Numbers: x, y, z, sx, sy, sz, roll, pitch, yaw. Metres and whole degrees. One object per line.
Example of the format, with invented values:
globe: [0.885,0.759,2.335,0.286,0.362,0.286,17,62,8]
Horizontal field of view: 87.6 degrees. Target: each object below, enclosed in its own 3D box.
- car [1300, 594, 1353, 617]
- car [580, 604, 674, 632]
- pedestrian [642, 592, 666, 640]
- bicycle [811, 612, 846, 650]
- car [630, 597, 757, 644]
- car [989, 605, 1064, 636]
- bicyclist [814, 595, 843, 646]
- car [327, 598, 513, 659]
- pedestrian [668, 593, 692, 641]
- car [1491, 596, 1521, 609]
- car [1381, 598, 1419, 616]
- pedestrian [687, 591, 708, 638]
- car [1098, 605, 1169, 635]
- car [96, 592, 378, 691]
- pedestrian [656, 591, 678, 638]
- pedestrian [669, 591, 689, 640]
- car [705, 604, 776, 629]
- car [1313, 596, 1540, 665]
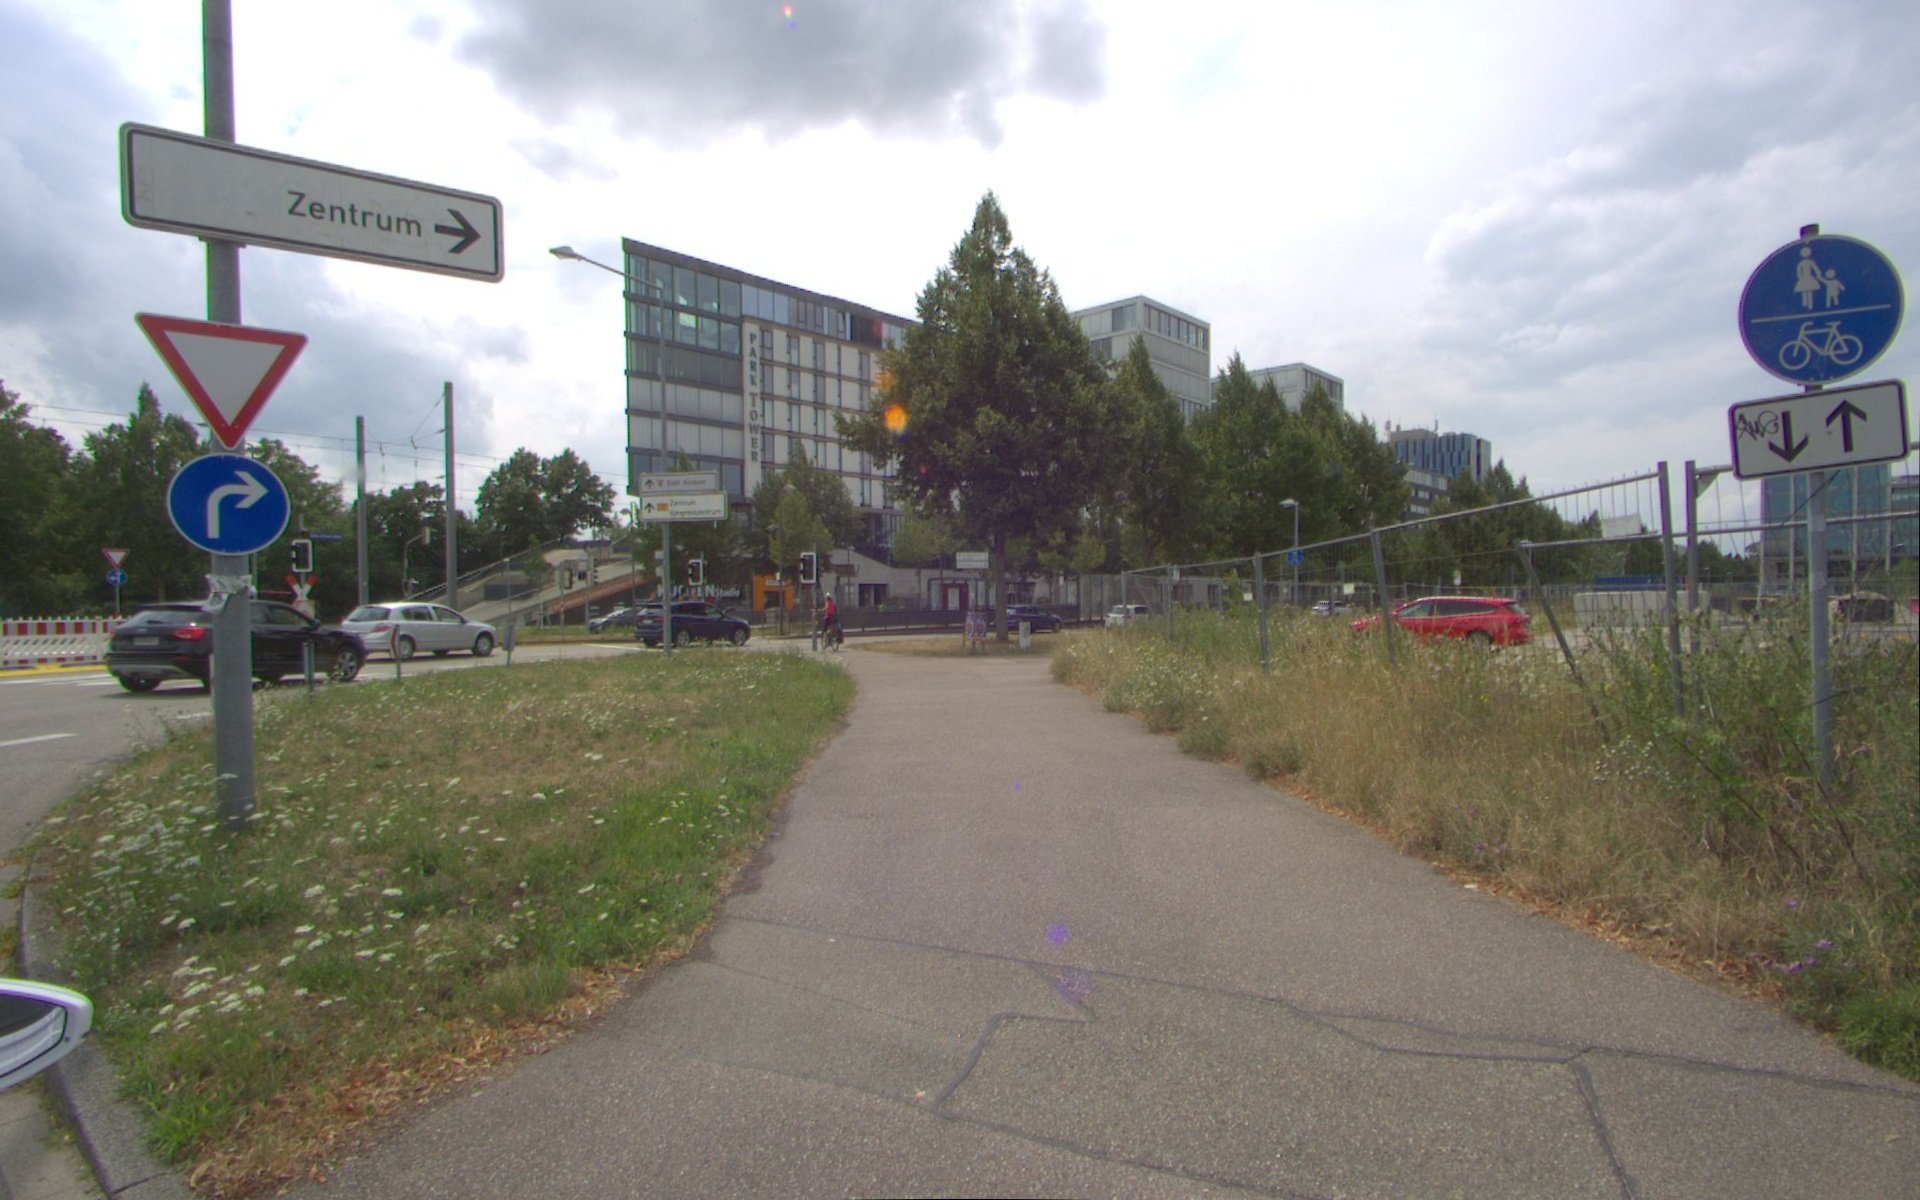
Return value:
car: [27.249,0.395,74.367,1.979,1.639,4.709,0,0,43]
car: [-18.446,0.957,55.669,1.829,1.477,4.696,1,0,43]
pedestrian: [-11.607,0.616,38.006,0.546,1.805,0.685,1,1,37]
bicycle: [-4.388,1.007,33.236,0.778,1.183,2.037,-1,0,-19]
car: [-9.294,0.685,35.227,1.708,1.554,4.348,0,0,33]
car: [3.449,0.993,51.104,1.780,1.517,4.084,0,0,40]
bicyclist: [-4.359,0.669,33.108,0.778,1.649,1.047,-1,1,-18]
car: [-14.133,0.699,26.488,1.798,1.482,4.252,0,0,19]
pedestrian: [-10.649,0.654,38.141,0.546,1.805,0.685,1,1,37]
car: [59.304,0.294,108.749,1.978,1.392,3.966,0,0,42]
car: [41.220,0.657,93.773,1.977,1.639,4.713,0,0,41]
pedestrian: [-10.188,0.567,38.838,0.546,1.805,0.576,1,1,37]
car: [9.309,1.053,53.402,1.781,1.517,4.224,0,0,42]
car: [-12.478,0.645,17.672,1.707,1.539,4.145,0,0,6]
pedestrian: [-11.283,0.544,38.542,0.546,1.805,0.629,1,1,37]
pedestrian: [-10.948,0.600,39.019,0.546,1.887,0.527,1,1,37]
car: [-13.583,0.995,62.059,1.829,1.477,3.963,1,0,44]
car: [11.965,0.748,25.873,5.072,1.625,1.777,0,0,37]
